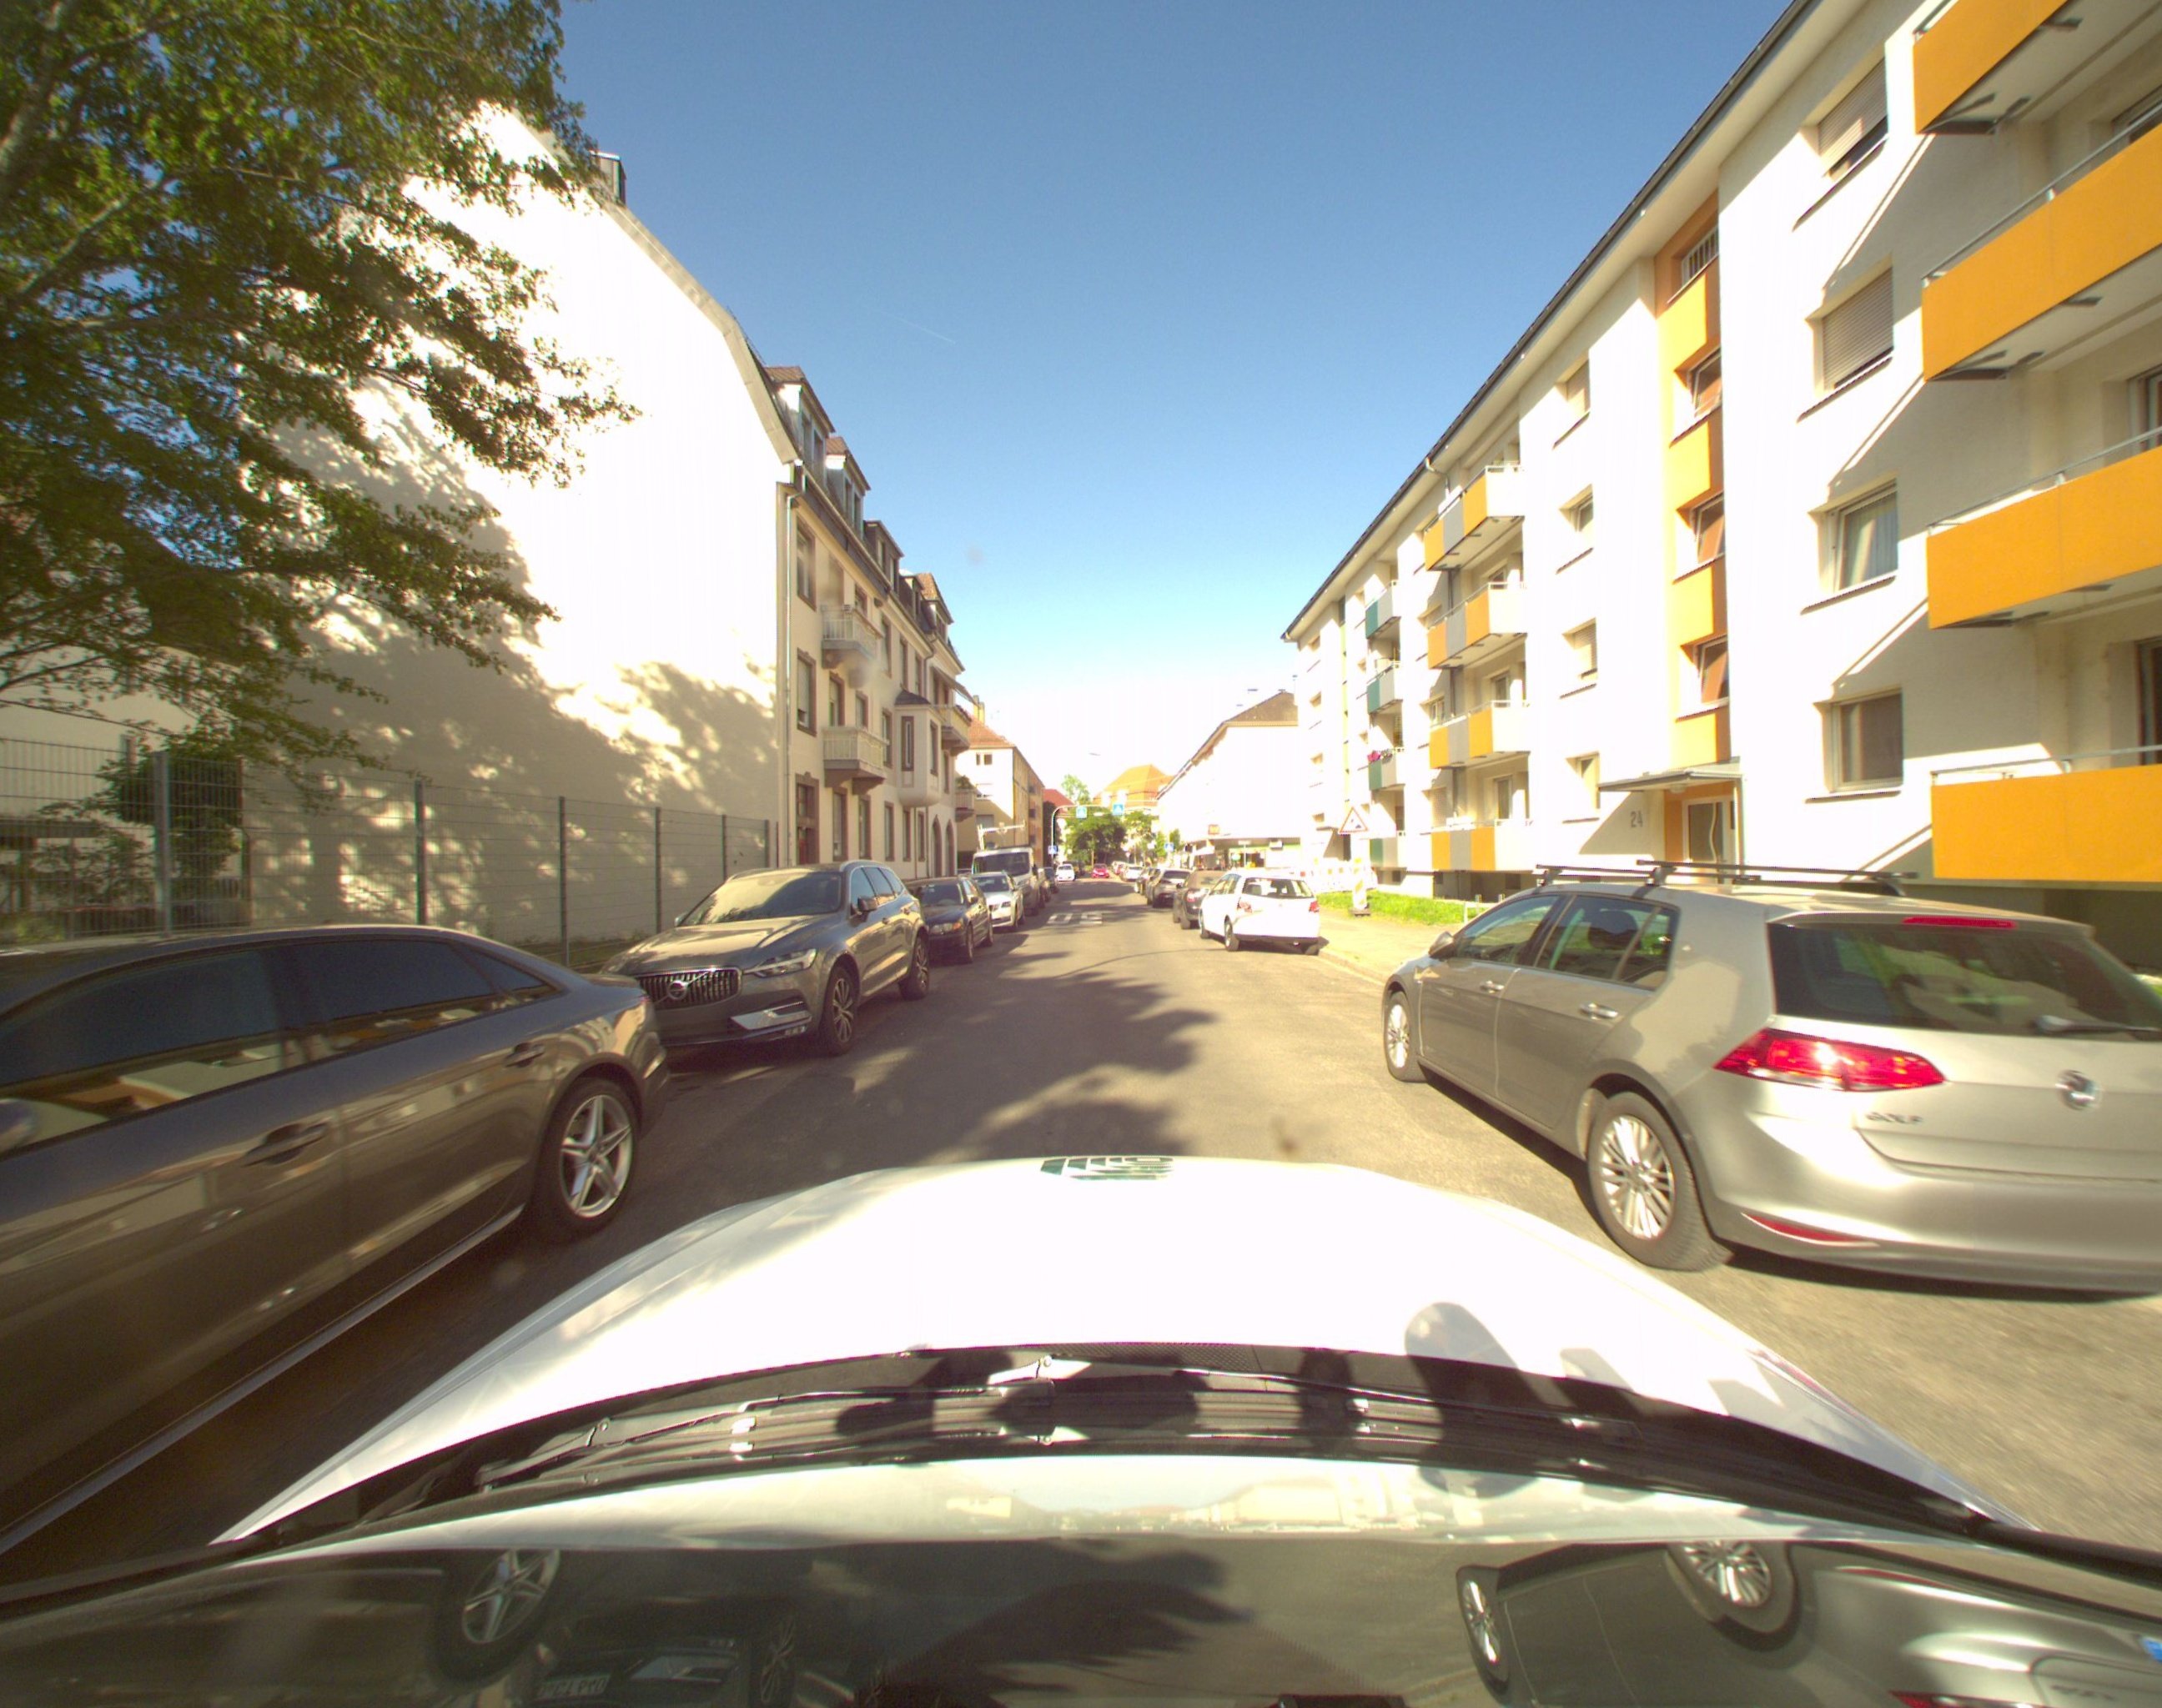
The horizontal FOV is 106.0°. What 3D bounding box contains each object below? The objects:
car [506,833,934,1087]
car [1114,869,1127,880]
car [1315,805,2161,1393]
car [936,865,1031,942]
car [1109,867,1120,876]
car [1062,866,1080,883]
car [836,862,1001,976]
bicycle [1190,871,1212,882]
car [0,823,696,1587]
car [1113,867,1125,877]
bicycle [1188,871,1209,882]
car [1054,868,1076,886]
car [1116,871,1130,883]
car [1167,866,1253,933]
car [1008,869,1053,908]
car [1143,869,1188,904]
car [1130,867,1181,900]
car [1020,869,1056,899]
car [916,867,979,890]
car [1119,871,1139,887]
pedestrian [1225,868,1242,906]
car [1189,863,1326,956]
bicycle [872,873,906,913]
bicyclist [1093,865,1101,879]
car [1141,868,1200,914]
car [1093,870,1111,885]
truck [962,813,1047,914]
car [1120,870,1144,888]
[{"bbox_3d":[-2.894,0.762,7.976,1.872,1.664,4.932,-2,-1,1],"label":"car"},{"bbox_3d":[5.166,2.637,106.441,1.632,1.441,3.418,0,-1,0],"label":"car"},{"bbox_3d":[2.960,0.756,4.621,1.893,1.622,4.601,2,-1,0],"label":"car"},{"bbox_3d":[-2.361,1.151,20.822,1.787,1.541,4.639,-6,0,-1],"label":"car"},{"bbox_3d":[5.526,2.912,134.990,1.632,1.441,3.418,0,-1,0],"label":"car"},{"bbox_3d":[-1.016,2.120,84.519,1.691,1.779,4.099,0,-1,1],"label":"car"},{"bbox_3d":[-2.665,1.034,14.463,1.785,1.563,4.461,-5,-2,2],"label":"car"},{"bbox_3d":[10.560,2.000,71.884,1.806,0.967,0.671,0,-1,-10],"label":"bicycle"},{"bbox_3d":[-3.000,0.721,2.160,1.788,1.471,4.500,-2,-1,0],"label":"car"},{"bbox_3d":[5.357,2.544,115.786,1.632,1.441,3.418,0,-1,0],"label":"car"},{"bbox_3d":[10.450,2.044,72.513,1.806,0.967,0.671,0,-1,-10],"label":"bicycle"},{"bbox_3d":[-1.417,2.058,73.484,1.785,1.480,4.100,-1,0,1],"label":"car"},{"bbox_3d":[5.145,2.804,100.370,1.632,1.441,3.418,0,-1,0],"label":"car"},{"bbox_3d":[3.194,1.088,20.745,1.682,1.467,3.584,2,-1,2],"label":"car"},{"bbox_3d":[-2.099,1.448,34.757,1.641,1.416,4.078,-4,-2,-1],"label":"car"},{"bbox_3d":[3.711,1.424,36.329,1.639,1.460,3.939,1,-2,0],"label":"car"},{"bbox_3d":[3.680,1.461,41.094,1.850,1.523,4.769,1,-2,-4],"label":"car"},{"bbox_3d":[-2.299,1.610,44.053,1.699,1.416,4.371,-4,-2,-1],"label":"car"},{"bbox_3d":[-8.829,1.604,53.885,3.988,1.479,1.586,0,-1,-17],"label":"car"},{"bbox_3d":[4.330,2.265,73.860,1.685,1.441,3.418,0,-1,0],"label":"car"},{"bbox_3d":[5.897,1.263,31.505,0.573,1.433,0.472,-2,-1,3],"label":"pedestrian"},{"bbox_3d":[3.337,1.010,16.135,1.681,1.463,3.816,5,-1,-2],"label":"car"},{"bbox_3d":[-6.502,1.293,27.689,0.567,1.279,2.341,0,0,1],"label":"bicycle"},{"bbox_3d":[1.925,2.152,96.239,0.782,1.621,0.957,-2,-1,5],"label":"bicyclist"},{"bbox_3d":[3.270,1.337,30.417,1.785,1.471,4.340,4,-1,2],"label":"car"},{"bbox_3d":[2.137,2.318,82.003,1.691,1.441,3.421,0,-1,3],"label":"car"},{"bbox_3d":[-2.432,0.374,27.900,2.252,2.986,7.273,0,-2,0],"label":"truck"},{"bbox_3d":[4.297,2.114,68.991,1.839,1.441,3.419,0,-1,1],"label":"car"}]
